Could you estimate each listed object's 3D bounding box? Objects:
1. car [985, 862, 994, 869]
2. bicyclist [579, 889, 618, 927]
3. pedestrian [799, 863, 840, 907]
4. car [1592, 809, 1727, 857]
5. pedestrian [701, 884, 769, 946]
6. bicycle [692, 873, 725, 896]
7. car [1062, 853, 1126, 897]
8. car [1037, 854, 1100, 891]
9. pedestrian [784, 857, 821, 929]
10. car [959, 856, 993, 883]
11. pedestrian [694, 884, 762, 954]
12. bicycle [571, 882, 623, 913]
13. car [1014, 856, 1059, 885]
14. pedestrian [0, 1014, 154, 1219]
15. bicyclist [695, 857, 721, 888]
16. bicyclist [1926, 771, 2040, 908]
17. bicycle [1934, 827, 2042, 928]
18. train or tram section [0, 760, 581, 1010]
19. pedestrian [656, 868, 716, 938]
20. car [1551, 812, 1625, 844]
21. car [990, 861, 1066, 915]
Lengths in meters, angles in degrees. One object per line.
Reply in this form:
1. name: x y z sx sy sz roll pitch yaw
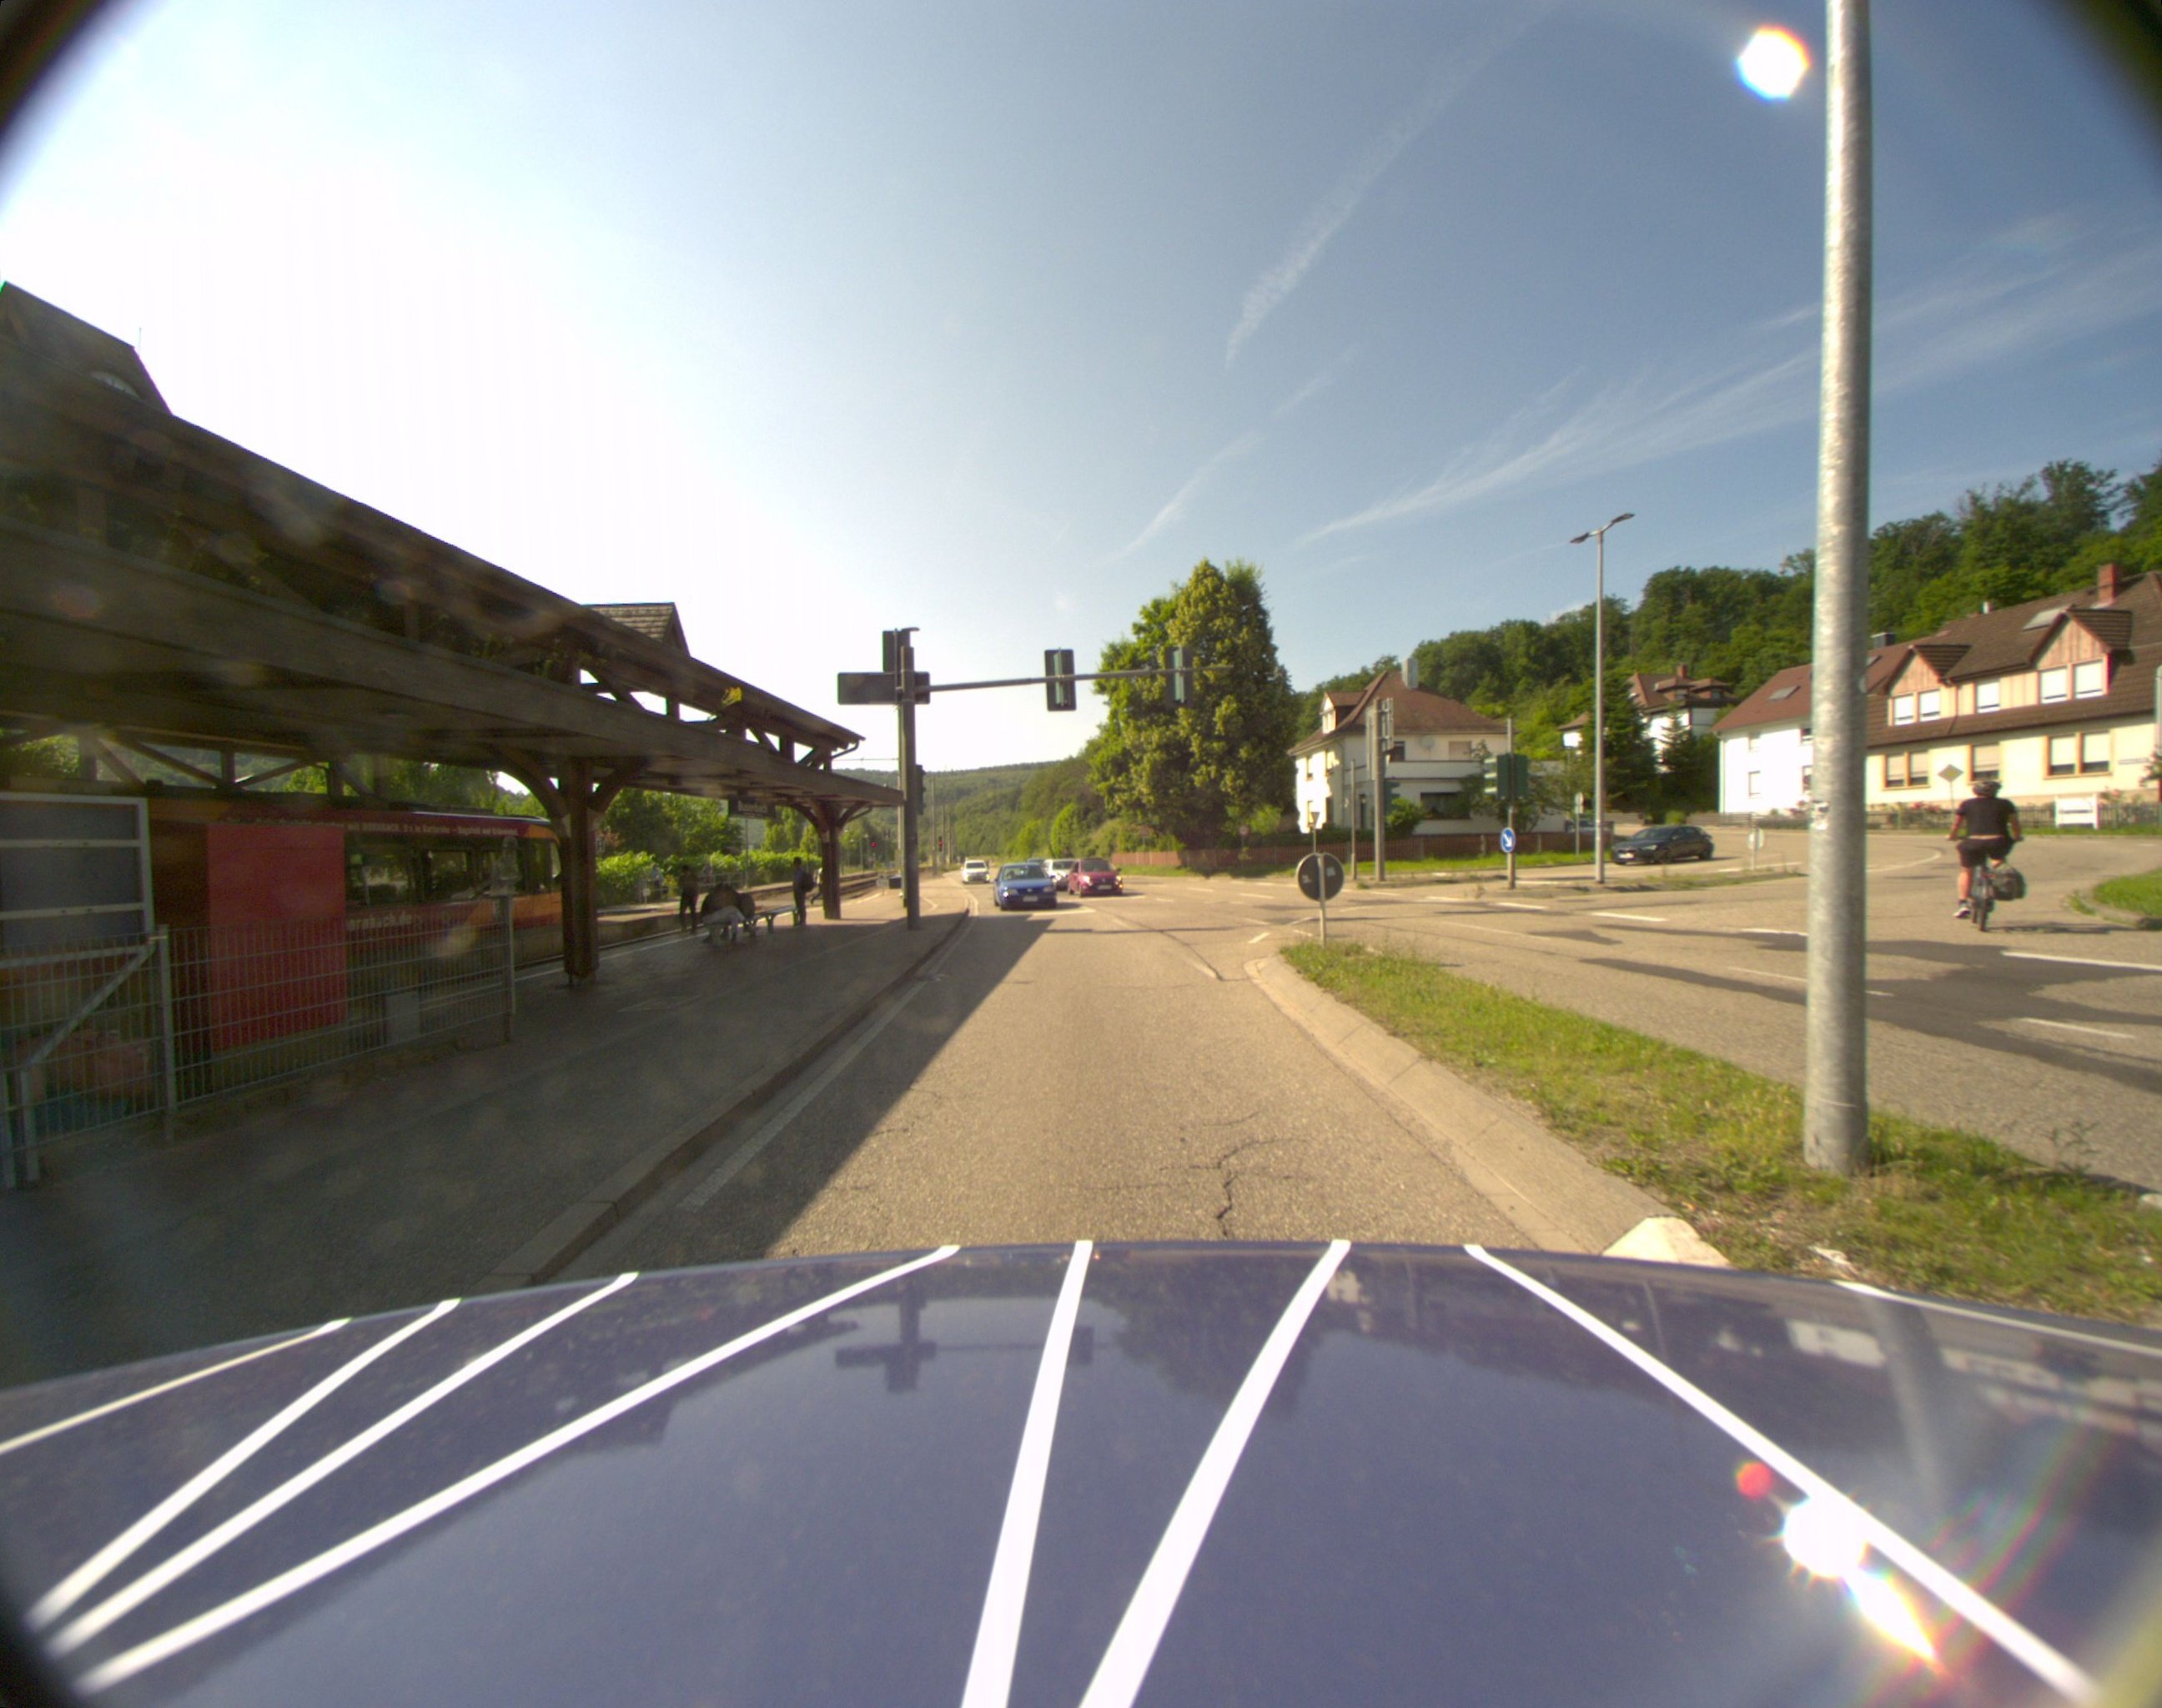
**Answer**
1. car: -26.144 3.281 217.164 2.001 1.673 3.996 -4 -1 -15
2. bicyclist: -21.137 2.357 33.305 1.010 1.544 1.041 -4 -1 -5
3. pedestrian: -11.067 1.306 32.237 1.250 1.726 0.917 -4 -1 7
4. car: 22.636 -0.810 29.811 4.000 1.499 1.999 -4 -1 -11
5. pedestrian: -7.201 1.252 15.874 1.009 1.153 0.948 -3 1 -9
6. bicycle: -21.434 1.732 43.750 0.873 1.246 2.295 -4 -1 -5
7. car: 0.438 0.798 29.814 1.662 1.525 3.952 -3 -1 -11
8. car: -0.686 0.866 35.652 1.981 1.495 4.747 -4 -1 -12
9. pedestrian: -6.789 0.928 18.539 0.659 1.682 0.739 -2 0 -9
10. car: -6.810 0.990 49.557 2.000 1.575 3.998 -4 0 -7
11. pedestrian: -6.805 1.239 14.685 0.994 1.228 0.596 -4 -1 -9
12. bicycle: -21.186 1.880 33.317 0.873 1.246 2.295 -4 -1 -5
13. car: -2.698 0.982 45.073 1.981 1.495 3.983 -4 -1 -12
14. pedestrian: -5.644 1.414 4.141 0.619 0.960 0.406 -4 -1 -2
15. bicyclist: -21.478 1.072 43.733 1.010 1.716 0.866 -4 -1 -5
16. bicyclist: 11.791 -0.179 9.973 0.995 1.681 0.805 -4 -1 -44
17. bicycle: 11.815 0.277 9.957 2.003 1.155 0.733 -3 -1 -43
18. train or tram section: -15.943 0.485 14.816 2.863 3.345 14.352 -3 0 -1
19. pedestrian: -9.074 1.108 17.489 0.863 1.538 0.922 -2 -1 -1
20. car: 30.267 -1.517 45.501 1.938 1.627 4.002 -4 -1 6
21. car: -1.784 0.991 24.179 1.866 1.474 4.298 -2 0 -10
